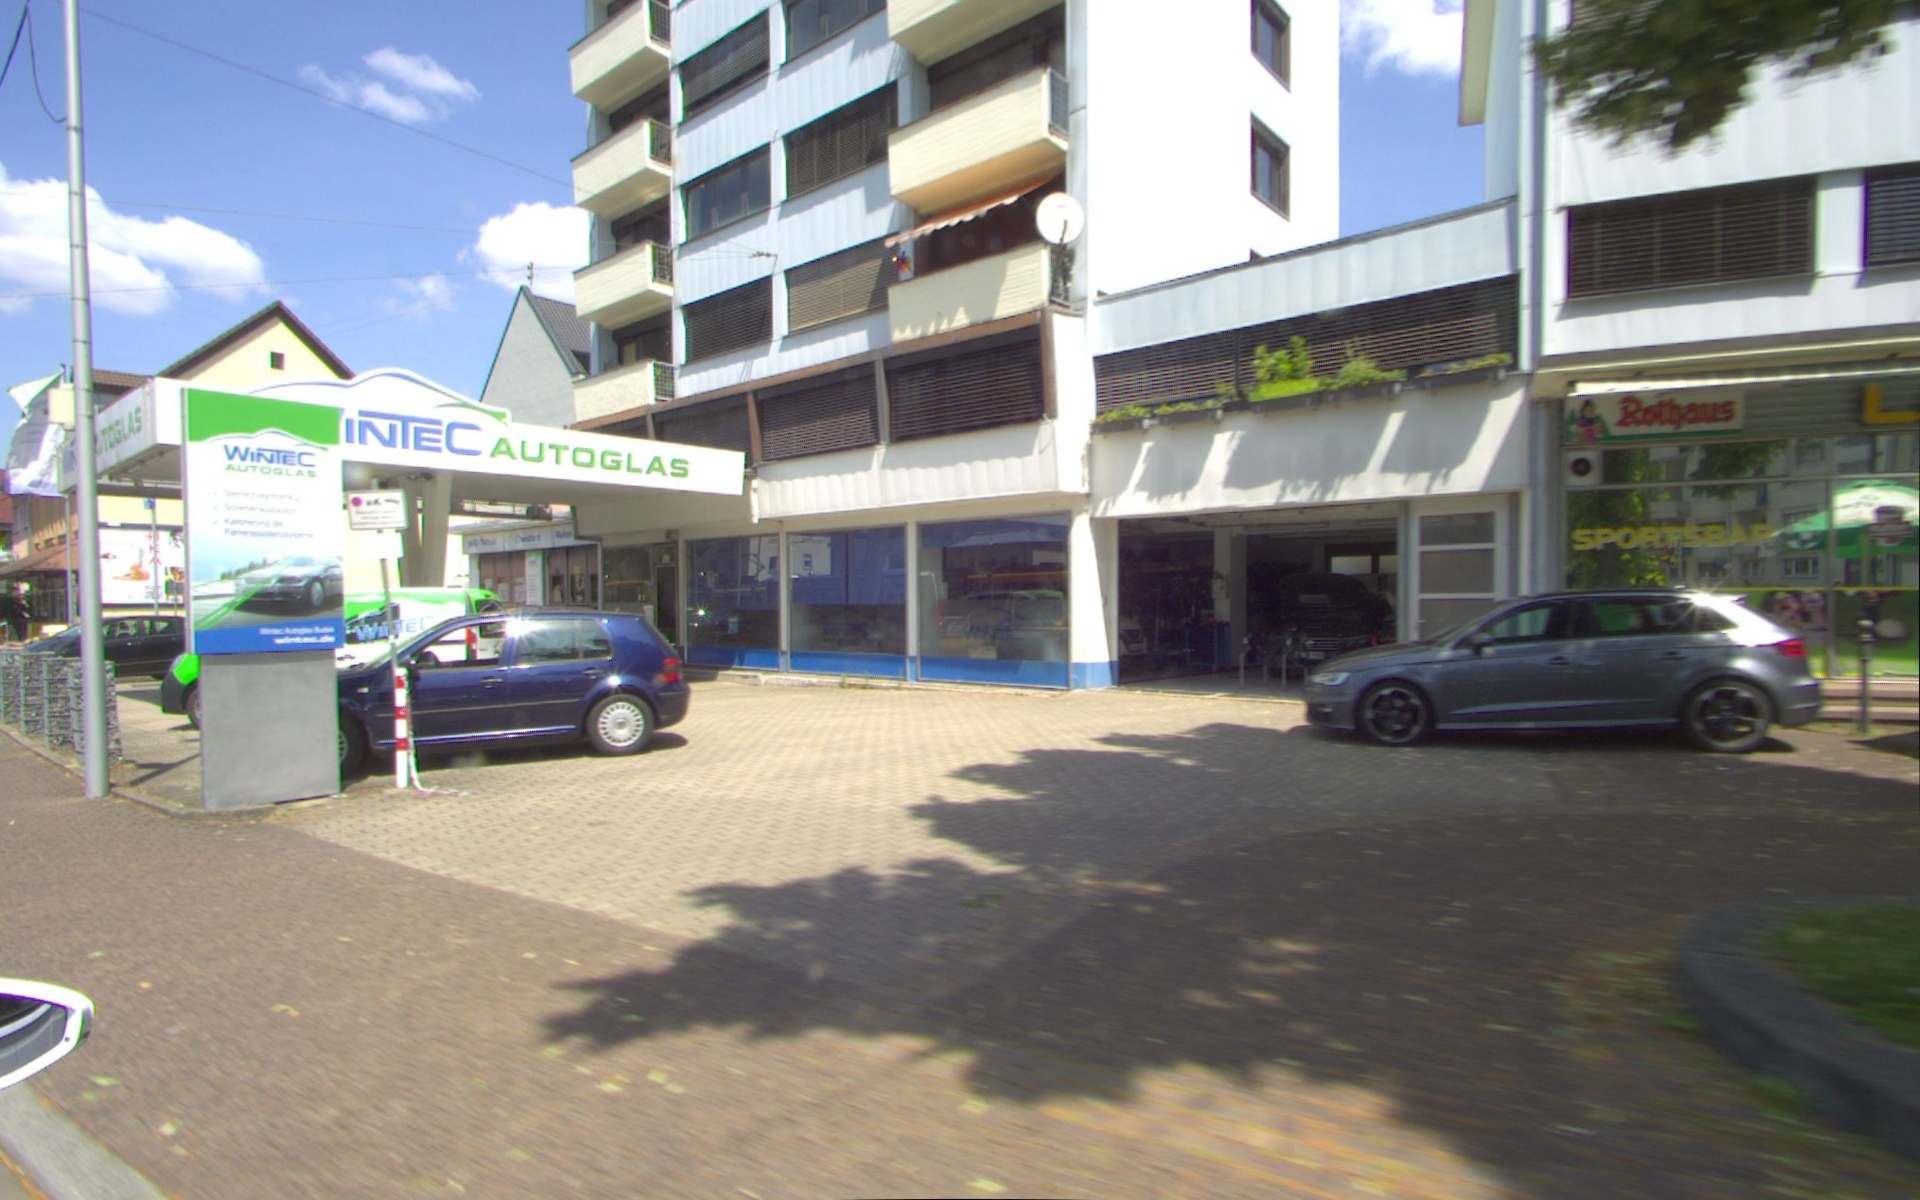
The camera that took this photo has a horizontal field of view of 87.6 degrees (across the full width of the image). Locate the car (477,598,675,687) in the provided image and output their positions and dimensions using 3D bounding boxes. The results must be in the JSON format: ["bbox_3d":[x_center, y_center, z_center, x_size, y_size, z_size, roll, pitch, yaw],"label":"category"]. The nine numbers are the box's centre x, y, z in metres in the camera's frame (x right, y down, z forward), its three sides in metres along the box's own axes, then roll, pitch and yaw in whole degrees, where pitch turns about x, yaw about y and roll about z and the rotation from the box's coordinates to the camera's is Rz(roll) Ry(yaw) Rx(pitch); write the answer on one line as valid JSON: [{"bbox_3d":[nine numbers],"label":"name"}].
[{"bbox_3d":[-7.893,0.829,20.404,4.239,1.617,1.998,-1,-1,40],"label":"car"}]

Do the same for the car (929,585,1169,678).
[{"bbox_3d":[1.642,0.581,19.424,4.333,1.606,1.983,-1,-1,42],"label":"car"}]

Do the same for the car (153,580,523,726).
[{"bbox_3d":[-8.502,0.680,14.041,3.948,1.818,1.841,-1,0,-7],"label":"car"}]

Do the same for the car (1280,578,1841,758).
[{"bbox_3d":[5.412,0.609,9.673,4.290,1.447,1.703,-2,-1,23],"label":"car"}]

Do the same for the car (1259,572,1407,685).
[{"bbox_3d":[6.766,0.474,17.930,1.828,1.772,3.910,-1,-1,30],"label":"car"}]

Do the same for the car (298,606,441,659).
[{"bbox_3d":[-22.443,1.210,38.188,1.974,1.833,4.289,2,0,37],"label":"car"}]

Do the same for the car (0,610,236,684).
[{"bbox_3d":[-19.718,1.047,23.581,1.795,1.538,3.924,-1,0,29],"label":"car"}]

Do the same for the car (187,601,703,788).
[{"bbox_3d":[-4.819,0.784,9.895,4.107,1.458,1.894,-1,0,-26],"label":"car"}]
